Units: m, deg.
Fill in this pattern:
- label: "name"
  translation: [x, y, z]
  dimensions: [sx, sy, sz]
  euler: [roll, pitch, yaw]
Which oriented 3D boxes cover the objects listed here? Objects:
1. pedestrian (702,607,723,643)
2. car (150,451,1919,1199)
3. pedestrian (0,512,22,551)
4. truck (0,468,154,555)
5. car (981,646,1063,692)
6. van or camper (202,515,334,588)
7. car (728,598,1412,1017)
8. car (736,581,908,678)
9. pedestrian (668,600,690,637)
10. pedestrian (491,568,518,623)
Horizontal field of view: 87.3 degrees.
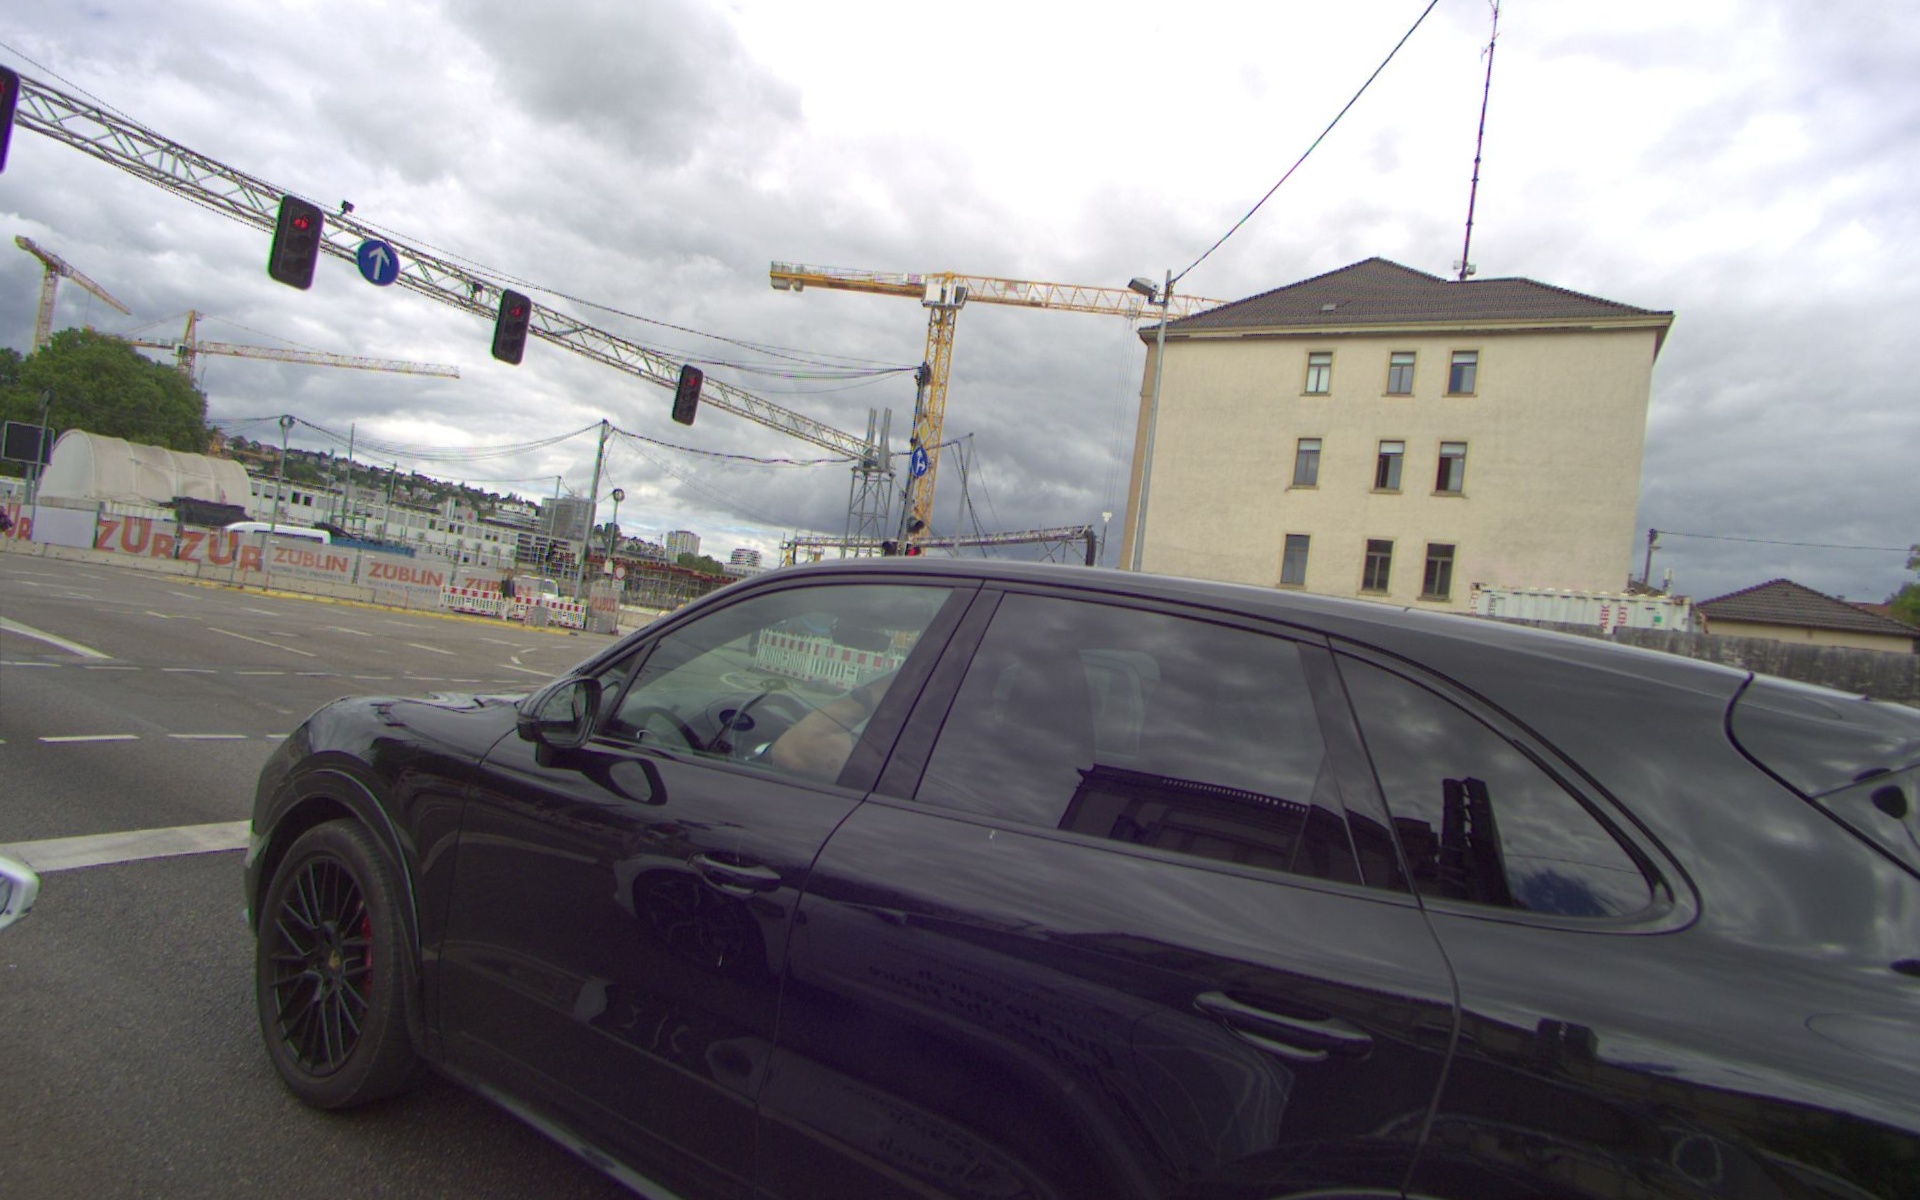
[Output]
- label: "pedestrian"
  translation: [-12.418, 1.254, 50.436]
  dimensions: [0.508, 1.737, 0.654]
  euler: [7, -1, 21]
- label: "car"
  translation: [0.030, 0.718, 2.697]
  dimensions: [4.559, 1.705, 1.959]
  euler: [7, -2, 33]
- label: "pedestrian"
  translation: [-37.514, -2.718, 39.288]
  dimensions: [0.888, 1.393, 0.800]
  euler: [8, -1, 15]
- label: "truck"
  translation: [-57.899, -5.794, 61.937]
  dimensions: [3.875, 4.086, 13.089]
  euler: [8, -2, 12]
- label: "car"
  translation: [3.077, 3.412, 49.211]
  dimensions: [1.854, 1.755, 4.438]
  euler: [7, -3, 34]
- label: "van or camper"
  translation: [-29.812, -2.071, 43.416]
  dimensions: [4.204, 2.384, 1.976]
  euler: [10, -3, -44]
- label: "car"
  translation: [0.587, 1.047, 6.373]
  dimensions: [3.818, 1.561, 1.667]
  euler: [7, -2, 33]
- label: "car"
  translation: [-4.669, 1.120, 35.145]
  dimensions: [2.033, 2.623, 5.998]
  euler: [7, -3, 38]
- label: "pedestrian"
  translation: [-14.784, 0.976, 52.898]
  dimensions: [0.607, 1.816, 0.654]
  euler: [7, -1, 23]
- label: "pedestrian"
  translation: [-17.616, -0.159, 38.917]
  dimensions: [0.647, 2.037, 0.513]
  euler: [8, -1, -33]
